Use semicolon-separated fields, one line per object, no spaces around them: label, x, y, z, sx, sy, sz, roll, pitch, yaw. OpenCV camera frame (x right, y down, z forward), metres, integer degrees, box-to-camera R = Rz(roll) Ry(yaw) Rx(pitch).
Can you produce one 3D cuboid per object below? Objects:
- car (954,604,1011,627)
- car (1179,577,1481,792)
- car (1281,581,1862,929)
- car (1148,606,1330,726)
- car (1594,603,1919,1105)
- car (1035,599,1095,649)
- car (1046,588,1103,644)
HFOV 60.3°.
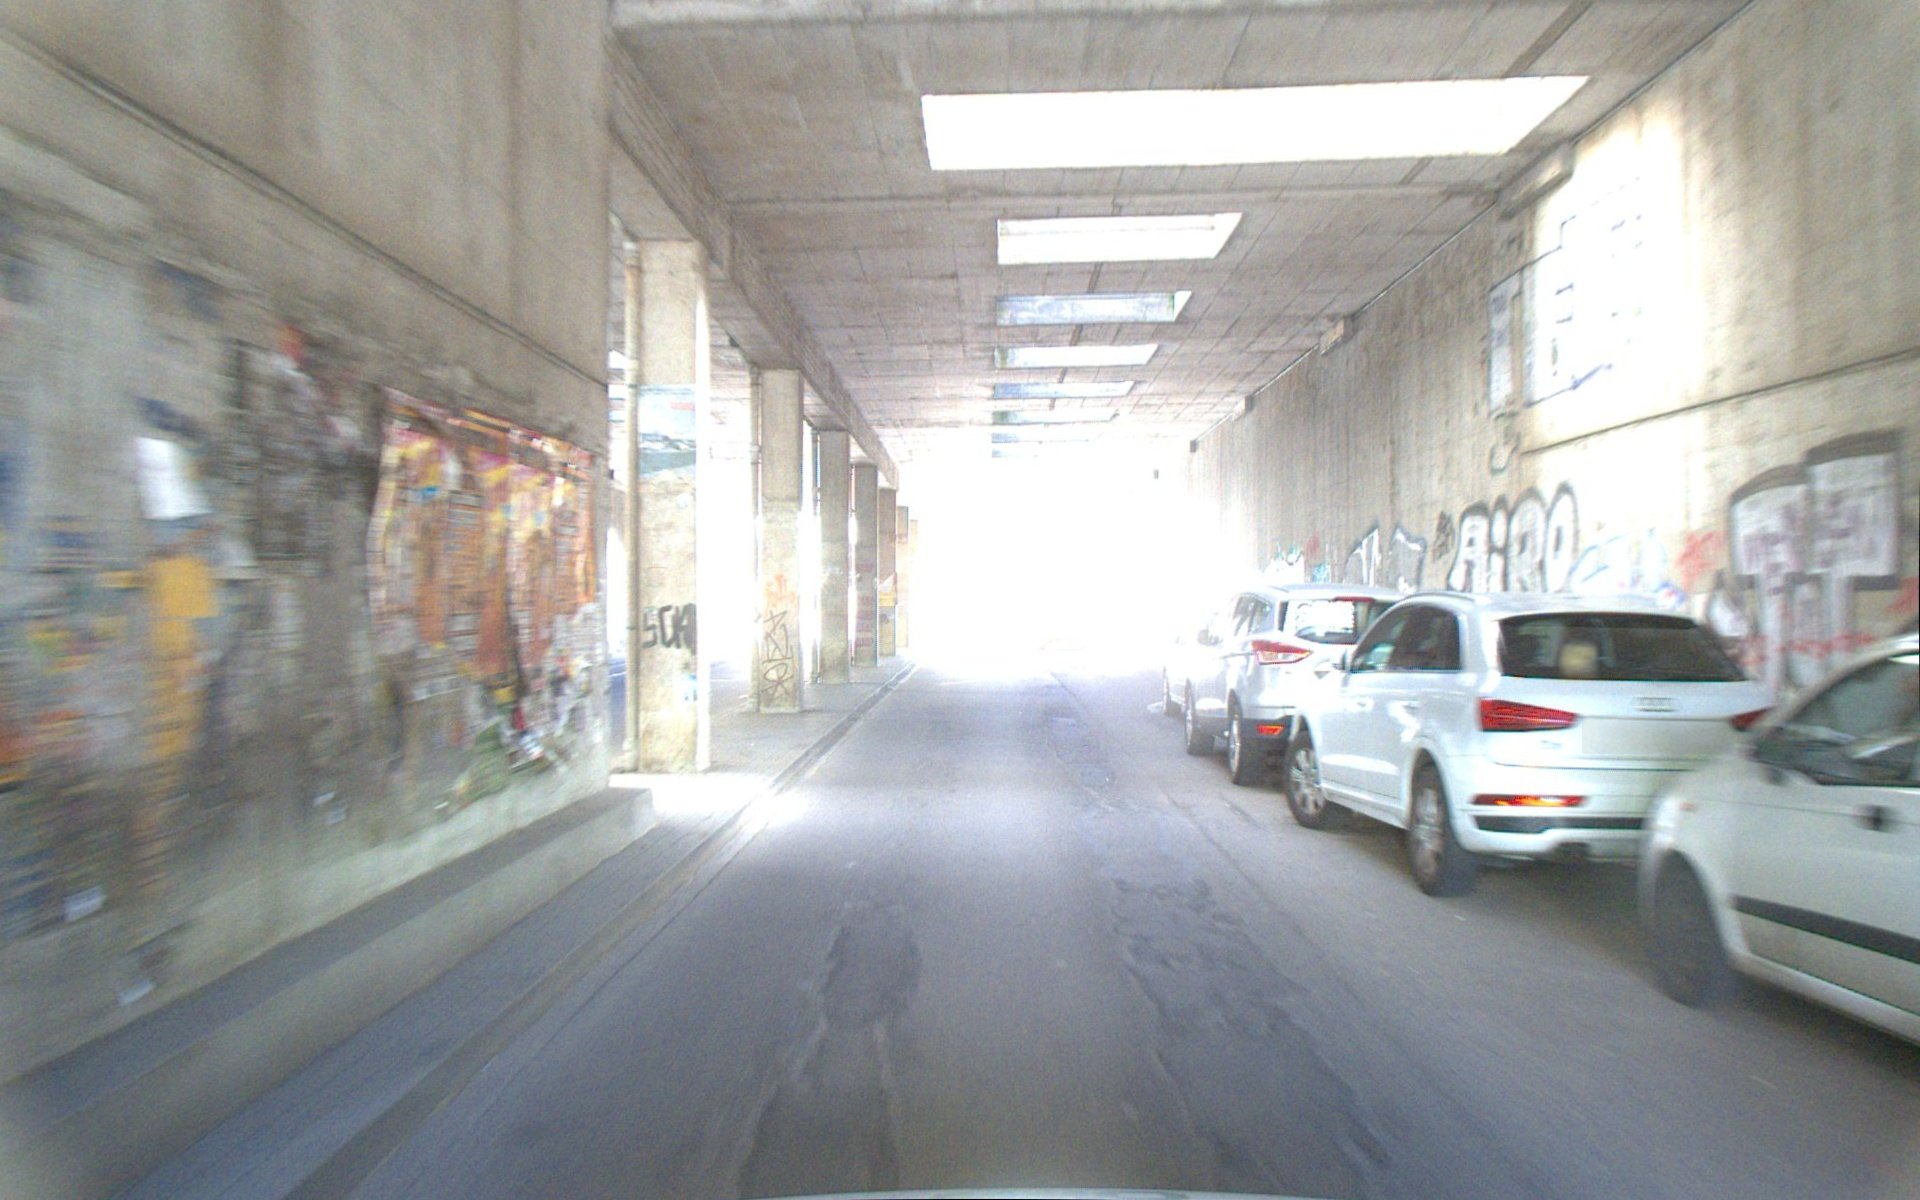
car;1.581;1.081;116.053;3.903;1.601;1.641;0;-1;5
car;3.220;0.650;15.273;1.815;1.695;4.371;0;0;0
car;3.213;0.726;9.655;1.695;1.573;4.153;0;-1;-3
car;3.555;0.787;21.787;1.666;1.398;4.373;0;0;0
car;3.649;0.764;5.390;1.571;1.513;3.635;0;-1;-4
car;3.345;0.750;53.331;1.788;1.527;4.212;0;0;1
car;4.067;0.562;59.545;1.778;1.915;4.586;-1;0;1
